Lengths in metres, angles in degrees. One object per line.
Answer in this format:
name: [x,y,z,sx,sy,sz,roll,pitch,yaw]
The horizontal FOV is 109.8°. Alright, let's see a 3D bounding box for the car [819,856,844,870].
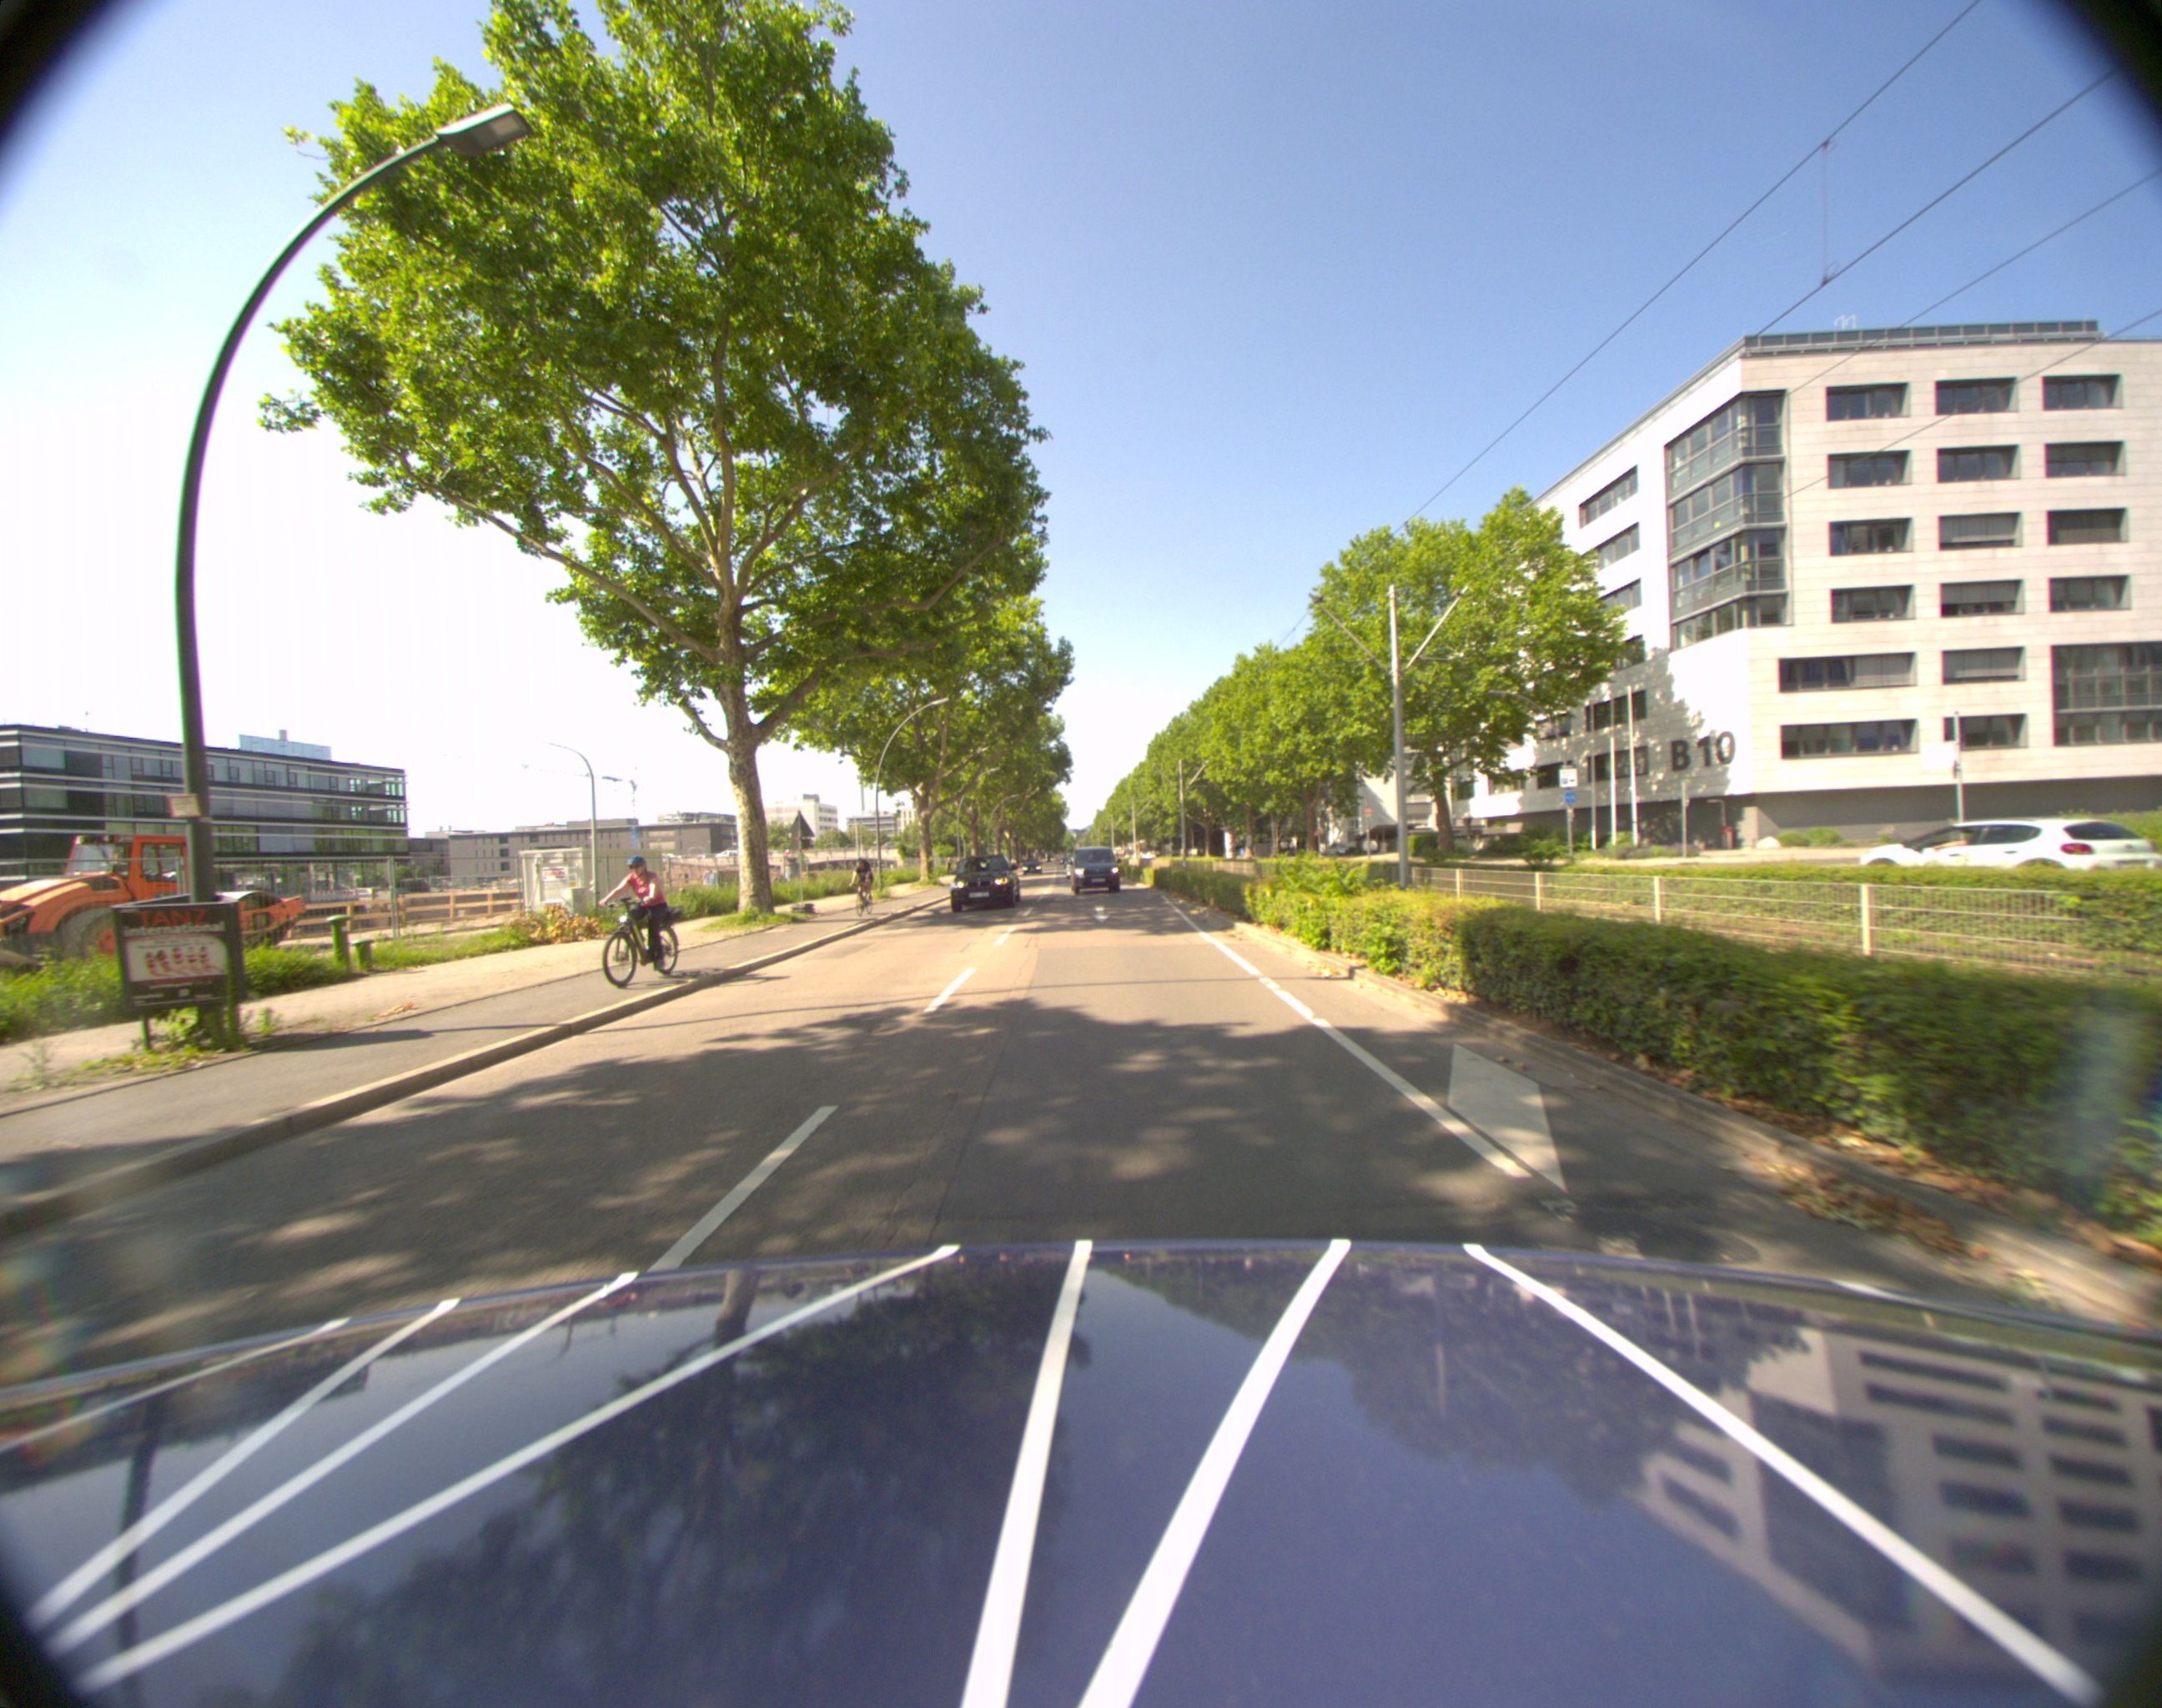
car: [-45.671,1.686,139.222,3.998,2.309,1.808,-3,1,-3]

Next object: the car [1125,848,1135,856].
car: [10.905,-0.444,169.026,1.861,1.445,3.999,-3,0,-2]

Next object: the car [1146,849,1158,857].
car: [13.962,-0.271,149.435,1.820,1.482,3.912,-1,0,-2]

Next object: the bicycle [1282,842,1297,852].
bicycle: [26.173,-0.878,95.343,1.770,1.096,0.421,-3,1,-2]

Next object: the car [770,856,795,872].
car: [-57.722,1.939,146.881,3.998,2.723,1.808,-3,1,-3]

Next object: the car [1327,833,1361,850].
car: [26.408,-1.249,76.461,1.747,1.541,4.348,-3,0,-2]

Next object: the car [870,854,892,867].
car: [-40.615,1.338,154.532,3.998,2.309,1.808,-3,1,-3]

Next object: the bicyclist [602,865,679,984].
bicyclist: [-6.141,0.956,10.624,0.621,1.591,0.732,-1,1,-2]

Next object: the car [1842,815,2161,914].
car: [17.614,0.158,14.676,1.761,1.560,4.018,-3,0,0]

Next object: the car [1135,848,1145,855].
car: [14.032,-0.606,180.177,1.861,1.445,3.999,-3,1,-2]

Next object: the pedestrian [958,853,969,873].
pedestrian: [-10.371,0.825,67.106,0.712,1.714,1.066,-3,1,-2]

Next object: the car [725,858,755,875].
car: [-56.557,2.061,126.064,3.998,2.723,1.808,-3,1,-3]

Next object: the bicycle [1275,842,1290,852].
bicycle: [25.953,-0.889,97.743,1.770,1.096,0.421,-3,1,-2]

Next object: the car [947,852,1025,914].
car: [-3.009,0.876,24.914,1.924,1.720,4.151,-3,1,0]

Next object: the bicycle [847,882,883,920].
bicycle: [-6.275,1.343,22.152,0.599,0.974,1.781,0,0,-2]

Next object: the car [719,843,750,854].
car: [-55.758,-0.865,122.323,3.998,1.501,1.808,-3,0,-3]

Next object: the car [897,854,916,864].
car: [-41.808,1.161,181.974,3.998,2.309,1.808,-3,1,-3]

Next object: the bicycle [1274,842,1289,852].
bicycle: [25.946,-0.892,98.181,1.770,1.096,0.421,-3,1,-2]

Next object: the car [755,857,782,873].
car: [-57.519,1.988,139.955,3.998,2.723,1.808,-3,1,-3]

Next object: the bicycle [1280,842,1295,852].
bicycle: [26.140,-0.885,96.303,1.770,1.096,0.421,-3,1,-2]

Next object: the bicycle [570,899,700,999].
bicycle: [-6.147,1.271,10.620,0.653,1.123,1.945,-1,1,-1]

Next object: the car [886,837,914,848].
car: [-29.277,-1.897,123.125,3.998,1.501,1.808,-3,0,-3]

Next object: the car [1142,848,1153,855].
car: [14.436,-0.568,164.768,1.857,1.445,3.999,-3,0,-2]

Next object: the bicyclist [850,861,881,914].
bicyclist: [-6.278,0.960,22.196,0.600,1.481,1.214,0,0,-2]

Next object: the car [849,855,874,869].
car: [-40.242,1.446,139.607,3.998,2.309,1.808,-3,1,-3]

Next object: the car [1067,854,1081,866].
car: [-0.950,0.773,104.676,1.854,1.419,4.151,-3,1,1]

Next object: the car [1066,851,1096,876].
car: [-0.024,0.662,53.267,1.924,1.543,4.151,-3,1,0]

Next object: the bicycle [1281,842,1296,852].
bicycle: [26.163,-0.882,95.806,1.770,1.096,0.421,-3,1,-2]

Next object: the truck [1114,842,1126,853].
truck: [11.980,-2.077,233.816,2.752,3.259,6.539,-3,0,-2]

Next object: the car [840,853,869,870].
car: [-39.862,1.288,133.855,4.376,2.723,1.808,-3,1,-3]

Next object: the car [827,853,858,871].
car: [-39.809,1.344,126.824,4.376,2.723,1.808,-3,1,-3]

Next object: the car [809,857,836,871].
car: [-45.493,1.725,133.672,3.998,2.309,1.808,-3,1,-3]

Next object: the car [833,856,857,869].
car: [-45.838,1.625,147.438,3.998,2.309,1.808,-3,1,-3]

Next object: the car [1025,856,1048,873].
car: [-4.256,1.019,72.809,1.854,1.419,4.151,-3,1,1]

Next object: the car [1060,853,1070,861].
car: [-3.058,0.524,145.668,1.854,1.419,4.151,-3,1,1]

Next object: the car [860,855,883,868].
car: [-40.671,1.398,147.638,3.998,2.309,1.808,-3,1,-3]

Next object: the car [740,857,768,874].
car: [-57.269,2.034,133.074,3.998,2.723,1.808,-3,1,-3]

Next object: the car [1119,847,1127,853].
car: [11.573,-1.076,210.614,1.701,1.406,3.891,-5,0,-2]

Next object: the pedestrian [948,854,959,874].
pedestrian: [-11.308,0.878,67.350,0.697,1.673,0.959,-3,1,-2]

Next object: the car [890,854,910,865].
car: [-41.690,1.213,175.111,3.998,2.309,1.808,-3,1,-3]

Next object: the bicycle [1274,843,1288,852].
bicycle: [25.967,-0.897,98.644,1.770,1.096,0.421,-3,1,-2]

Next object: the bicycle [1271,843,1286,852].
bicycle: [25.938,-0.904,99.730,1.770,1.096,0.421,-3,1,-2]

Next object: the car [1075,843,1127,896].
car: [0.738,0.533,29.247,1.789,1.839,4.000,-2,1,1]

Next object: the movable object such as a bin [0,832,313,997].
movable object such as a bin: [-21.364,1.177,16.947,2.376,3.054,5.983,-3,0,-3]
